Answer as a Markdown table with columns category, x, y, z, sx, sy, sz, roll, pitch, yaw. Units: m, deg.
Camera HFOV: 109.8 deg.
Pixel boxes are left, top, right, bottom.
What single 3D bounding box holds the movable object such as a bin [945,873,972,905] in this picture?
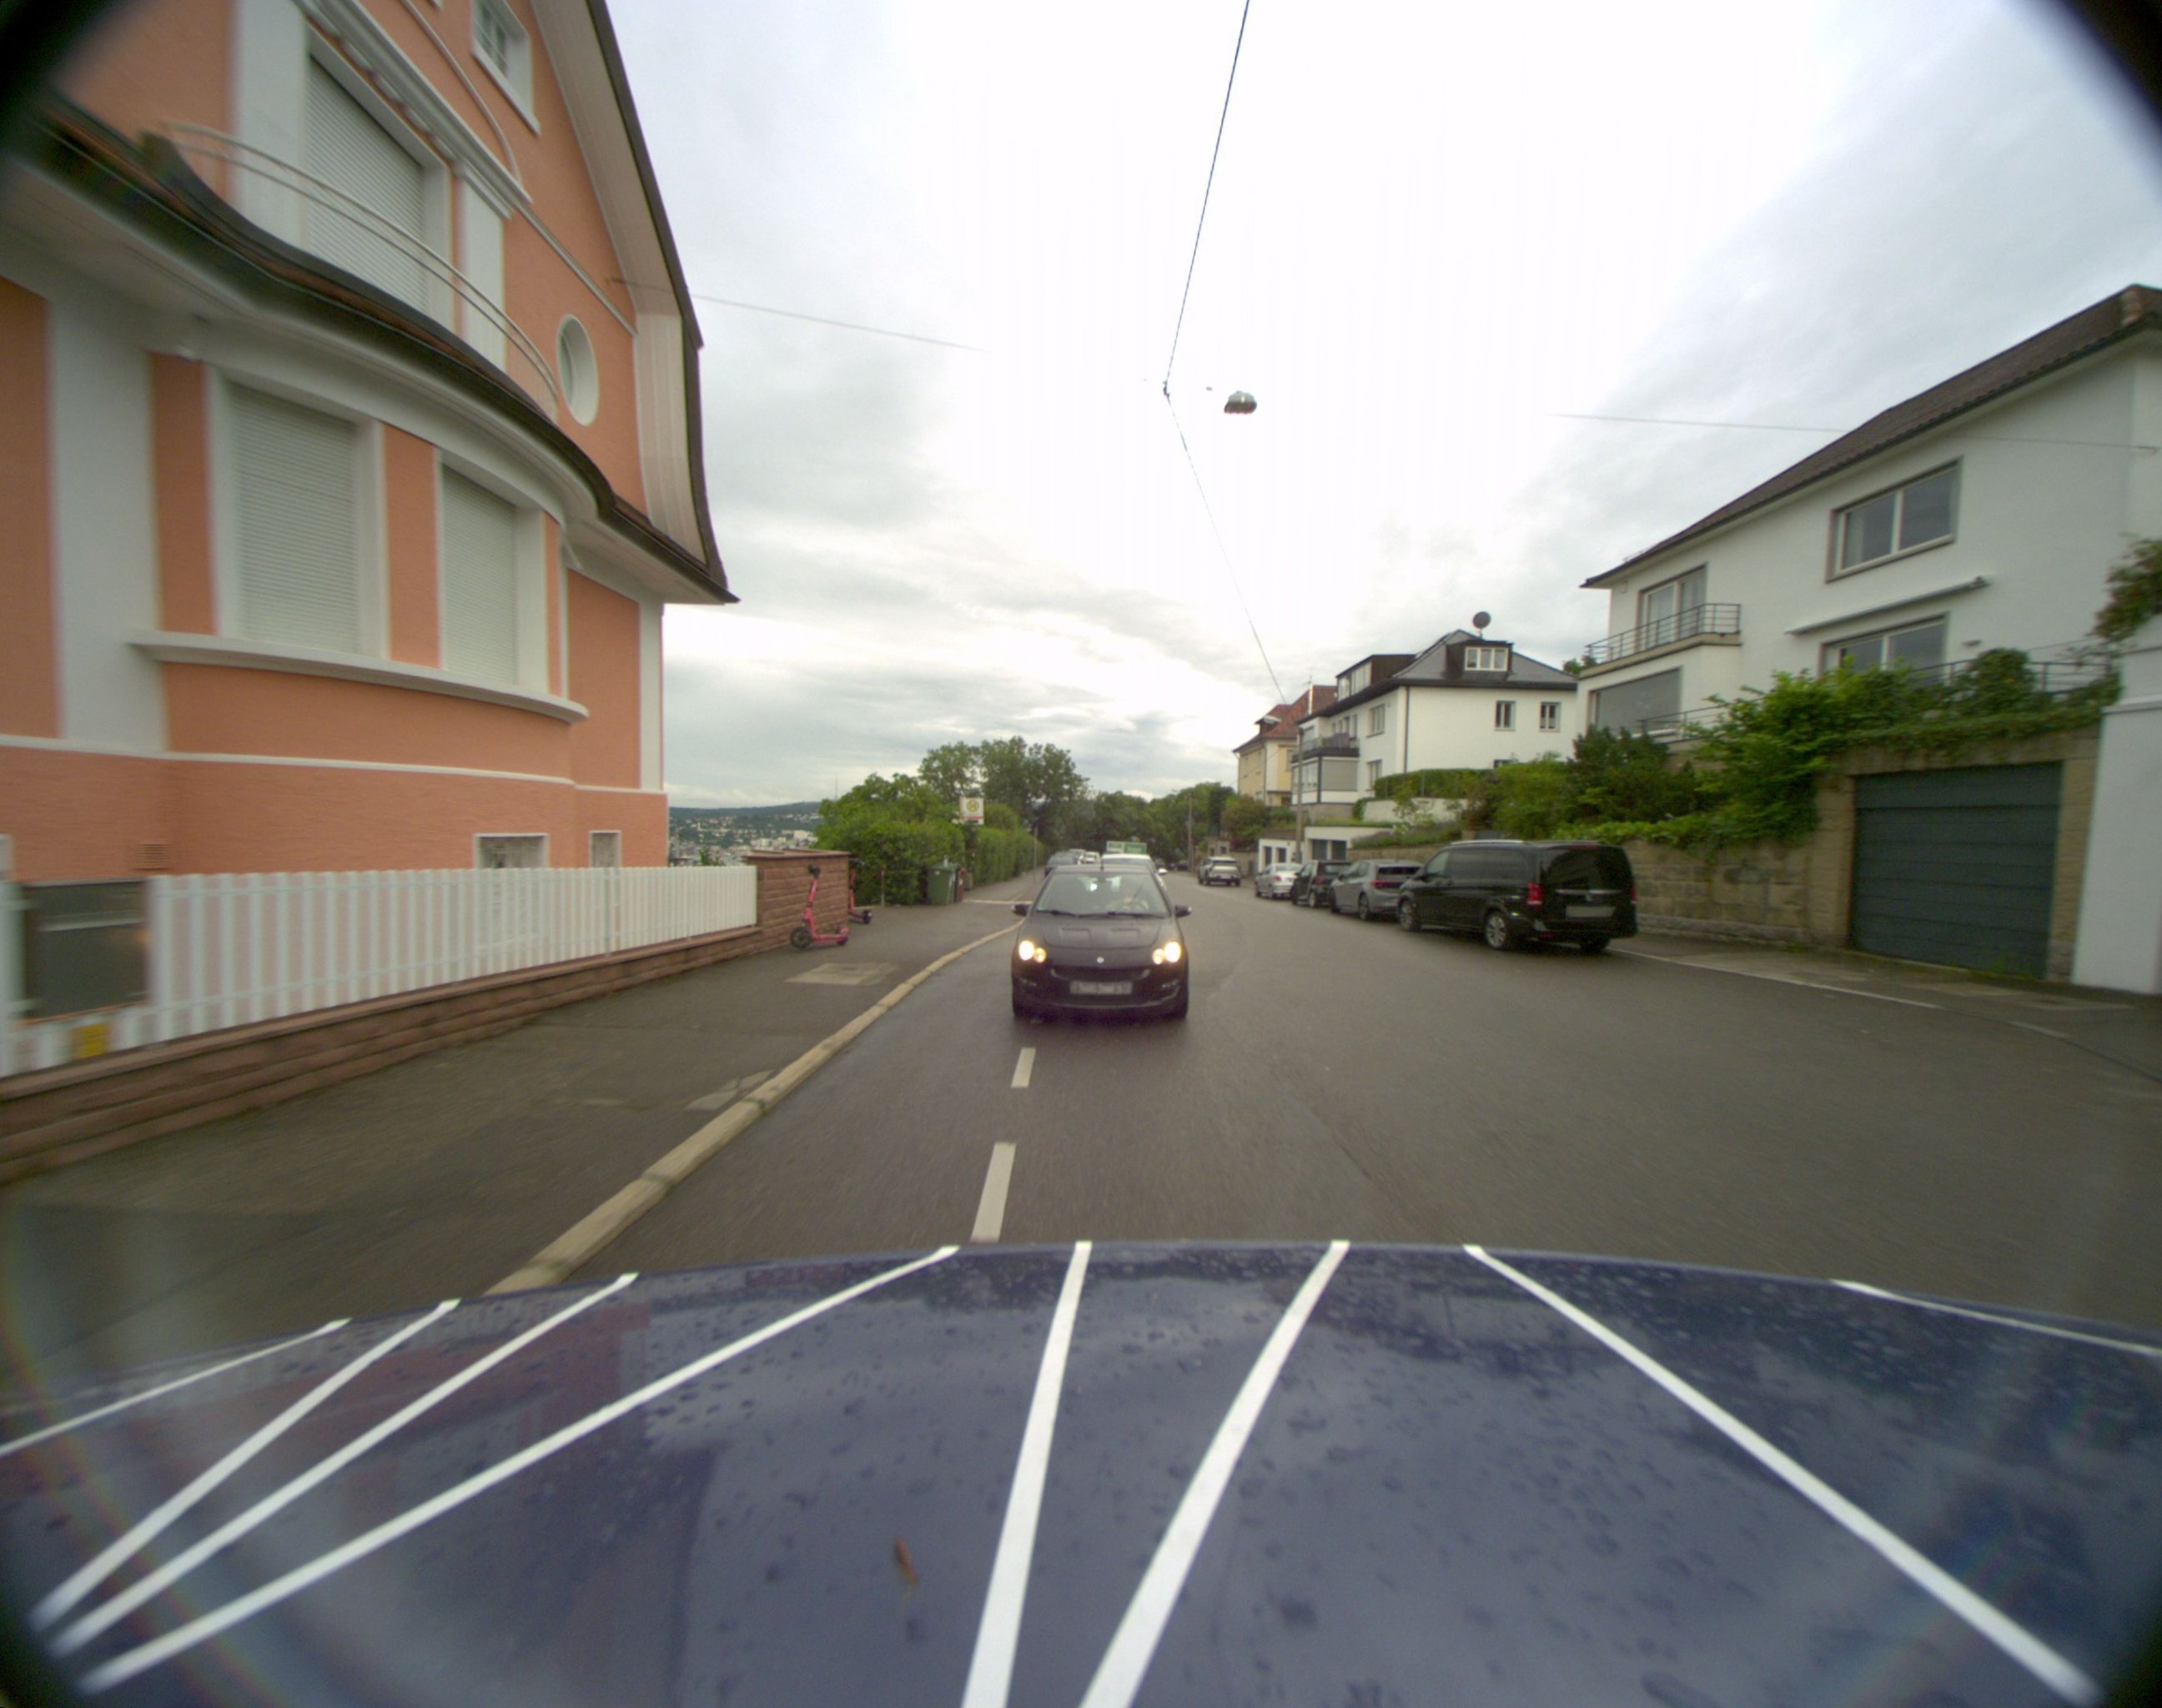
| category | x | y | z | sx | sy | sz | roll | pitch | yaw |
| --- | --- | --- | --- | --- | --- | --- | --- | --- | --- |
| movable object such as a bin | -3.403 | 0.954 | 21.065 | 0.613 | 0.859 | 0.590 | 0 | 1 | 3 |

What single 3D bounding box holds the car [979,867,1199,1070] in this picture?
| category | x | y | z | sx | sy | sz | roll | pitch | yaw |
| --- | --- | --- | --- | --- | --- | --- | --- | --- | --- |
| car | 0.345 | 0.939 | 7.965 | 1.695 | 1.482 | 3.942 | -1 | 0 | 9 |

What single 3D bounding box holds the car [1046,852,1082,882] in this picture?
| category | x | y | z | sx | sy | sz | roll | pitch | yaw |
| --- | --- | --- | --- | --- | --- | --- | --- | --- | --- |
| car | -0.931 | 0.683 | 43.404 | 1.928 | 1.577 | 3.999 | 0 | 1 | 0 |

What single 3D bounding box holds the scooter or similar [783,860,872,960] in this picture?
| category | x | y | z | sx | sy | sz | roll | pitch | yaw |
| --- | --- | --- | --- | --- | --- | --- | --- | --- | --- |
| scooter or similar | -3.833 | 0.807 | 11.596 | 0.355 | 1.394 | 1.480 | 0 | 1 | 24 |

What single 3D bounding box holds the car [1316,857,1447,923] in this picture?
| category | x | y | z | sx | sy | sz | roll | pitch | yaw |
| --- | --- | --- | --- | --- | --- | --- | --- | --- | --- |
| car | 7.832 | 0.863 | 20.274 | 1.696 | 1.482 | 4.402 | -1 | 0 | -1 |

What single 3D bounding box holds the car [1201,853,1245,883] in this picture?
| category | x | y | z | sx | sy | sz | roll | pitch | yaw |
| --- | --- | --- | --- | --- | --- | --- | --- | --- | --- |
| car | 7.785 | 0.741 | 42.001 | 1.868 | 1.492 | 4.000 | 0 | 1 | 2 |

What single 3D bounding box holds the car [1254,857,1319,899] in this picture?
| category | x | y | z | sx | sy | sz | roll | pitch | yaw |
| --- | --- | --- | --- | --- | --- | --- | --- | --- | --- |
| car | 7.884 | 0.875 | 29.378 | 1.594 | 1.482 | 3.437 | -1 | 0 | 0 |

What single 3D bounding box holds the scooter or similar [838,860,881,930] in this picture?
| category | x | y | z | sx | sy | sz | roll | pitch | yaw |
| --- | --- | --- | --- | --- | --- | --- | --- | --- | --- |
| scooter or similar | -4.394 | 0.786 | 15.018 | 0.357 | 1.265 | 1.290 | -1 | 3 | -38 |

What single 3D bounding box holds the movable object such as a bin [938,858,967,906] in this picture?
| category | x | y | z | sx | sy | sz | roll | pitch | yaw |
| --- | --- | --- | --- | --- | --- | --- | --- | --- | --- |
| movable object such as a bin | -3.443 | 0.738 | 20.402 | 0.613 | 1.239 | 0.684 | 0 | 1 | 3 |

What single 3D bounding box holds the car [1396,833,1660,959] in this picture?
| category | x | y | z | sx | sy | sz | roll | pitch | yaw |
| --- | --- | --- | --- | --- | --- | --- | --- | --- | --- |
| car | 8.021 | 0.648 | 14.320 | 1.999 | 1.945 | 4.773 | -1 | 0 | -3 |

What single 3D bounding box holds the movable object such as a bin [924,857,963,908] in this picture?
| category | x | y | z | sx | sy | sz | roll | pitch | yaw |
| --- | --- | --- | --- | --- | --- | --- | --- | --- | --- |
| movable object such as a bin | -3.532 | 0.716 | 19.580 | 0.726 | 1.239 | 0.917 | 3 | 1 | 3 |

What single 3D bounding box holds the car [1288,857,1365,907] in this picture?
| category | x | y | z | sx | sy | sz | roll | pitch | yaw |
| --- | --- | --- | --- | --- | --- | --- | --- | --- | --- |
| car | 7.944 | 0.851 | 24.796 | 1.522 | 1.482 | 2.893 | -1 | 0 | 0 |

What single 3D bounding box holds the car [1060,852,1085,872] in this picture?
| category | x | y | z | sx | sy | sz | roll | pitch | yaw |
| --- | --- | --- | --- | --- | --- | --- | --- | --- | --- |
| car | -0.650 | 0.626 | 60.869 | 1.928 | 1.447 | 3.999 | 0 | 1 | 0 |

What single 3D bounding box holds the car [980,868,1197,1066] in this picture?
| category | x | y | z | sx | sy | sz | roll | pitch | yaw |
| --- | --- | --- | --- | --- | --- | --- | --- | --- | --- |
| car | 0.346 | 0.914 | 7.977 | 1.710 | 1.414 | 4.002 | 0 | 1 | 9 |

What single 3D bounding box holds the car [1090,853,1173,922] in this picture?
| category | x | y | z | sx | sy | sz | roll | pitch | yaw |
| --- | --- | --- | --- | --- | --- | --- | --- | --- | --- |
| car | 1.220 | 0.796 | 20.141 | 1.928 | 1.577 | 3.999 | 0 | 1 | 0 |
